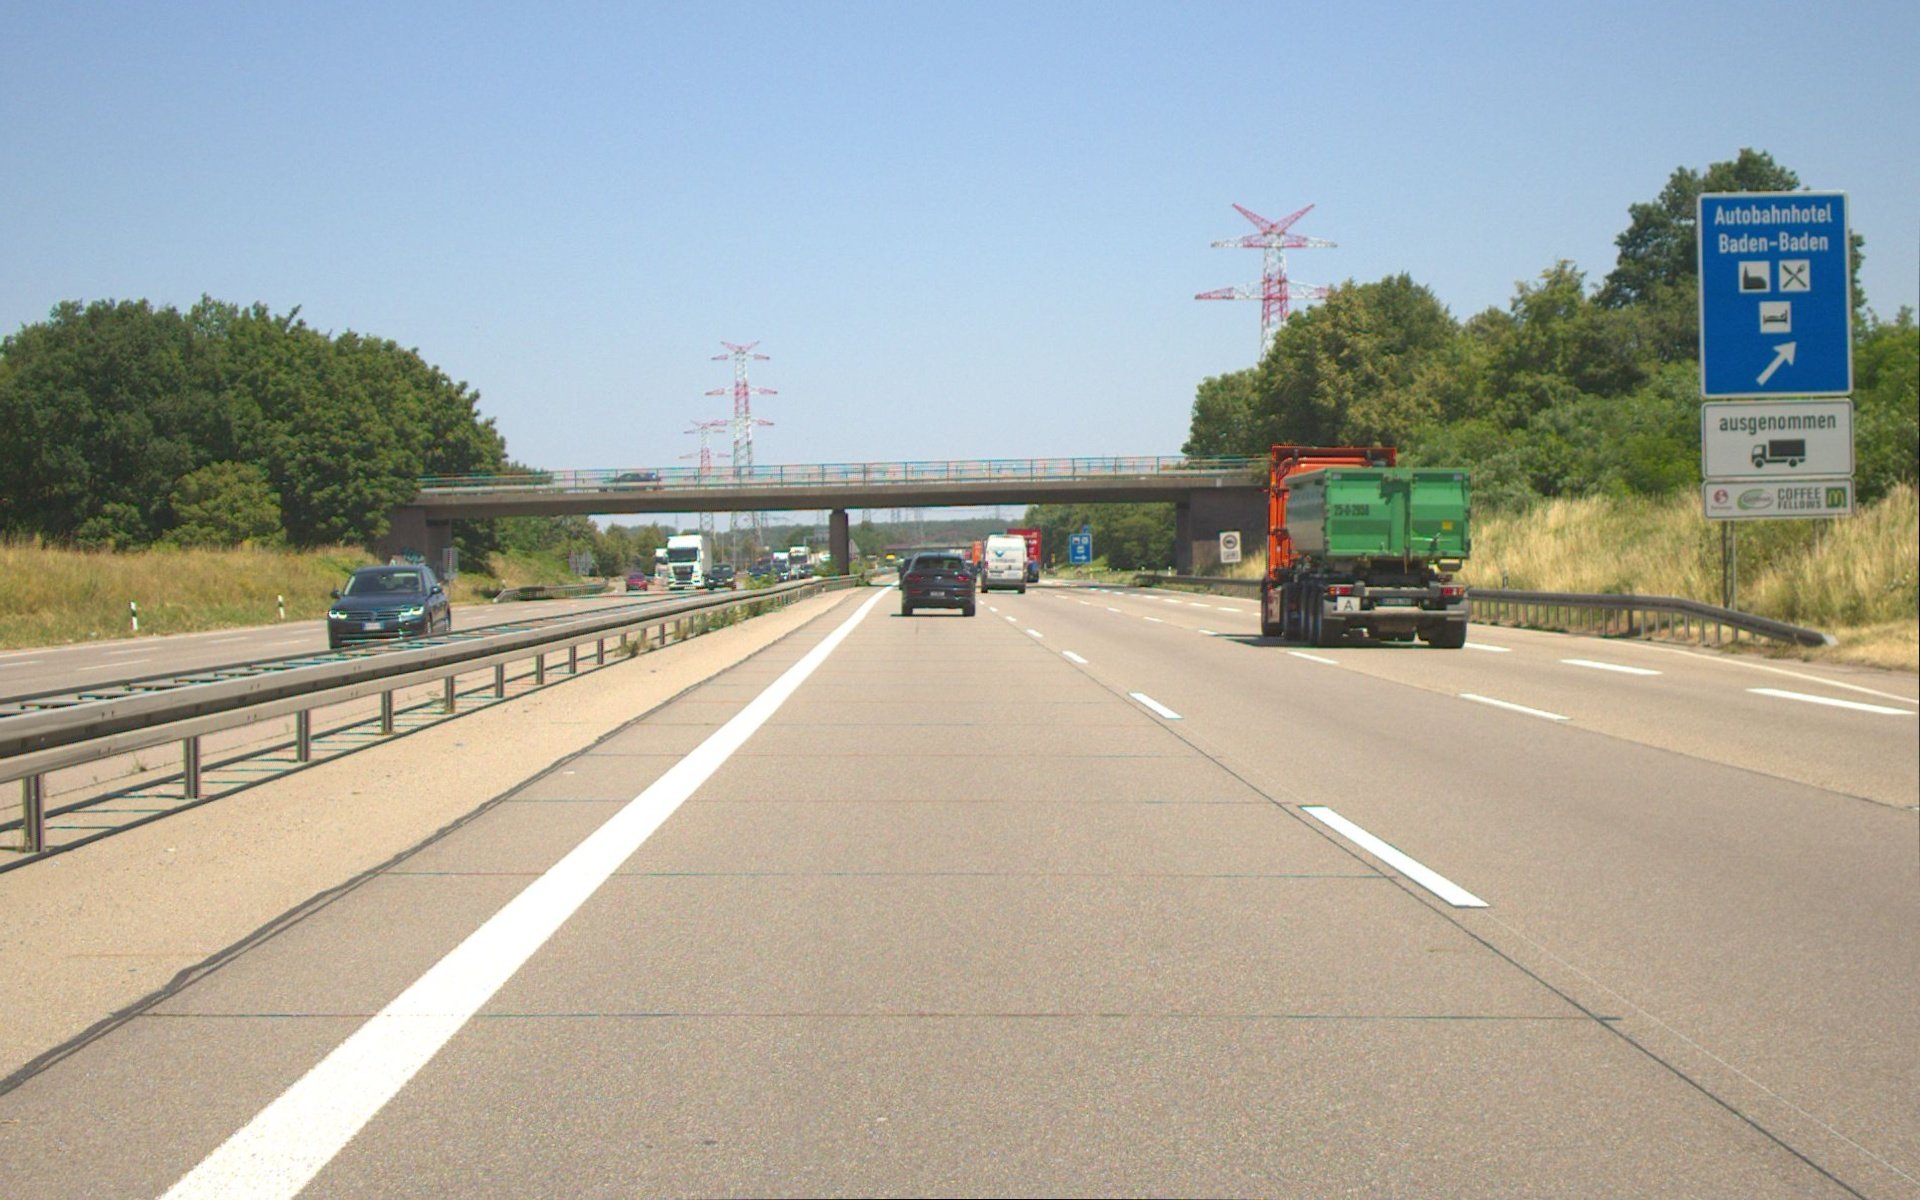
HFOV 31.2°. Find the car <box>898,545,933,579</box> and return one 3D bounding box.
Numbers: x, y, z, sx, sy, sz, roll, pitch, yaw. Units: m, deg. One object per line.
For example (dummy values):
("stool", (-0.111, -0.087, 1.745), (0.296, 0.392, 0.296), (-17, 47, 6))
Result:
("car", (-2.370, -2.013, 182.426), (1.794, 1.744, 4.000), (1, 1, -1))

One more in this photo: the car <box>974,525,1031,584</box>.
("car", (2.017, -2.208, 165.370), (2.621, 2.749, 6.096), (1, 1, 0))

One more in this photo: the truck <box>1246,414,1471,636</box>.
("truck", (7.385, -1.387, 65.520), (2.681, 3.785, 12.479), (1, 1, 0))

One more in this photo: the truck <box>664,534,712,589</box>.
("truck", (-20.497, -2.884, 258.997), (2.949, 3.946, 6.953), (-3, 1, -1))

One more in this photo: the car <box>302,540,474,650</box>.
("car", (-10.711, -0.129, 64.765), (2.364, 1.888, 5.225), (-3, 1, -1))

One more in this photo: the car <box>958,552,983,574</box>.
("car", (0.772, -2.769, 255.317), (1.747, 1.628, 4.004), (1, 1, 0))

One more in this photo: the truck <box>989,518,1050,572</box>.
("truck", (4.492, -4.238, 264.621), (4.332, 3.928, 16.078), (1, 1, 0))

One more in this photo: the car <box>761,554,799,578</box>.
("car", (-11.876, -2.249, 226.963), (2.228, 1.419, 5.300), (-3, 1, -1))

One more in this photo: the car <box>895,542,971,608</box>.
("car", (-0.749, -0.713, 94.115), (1.993, 1.744, 4.000), (1, 1, -1))
